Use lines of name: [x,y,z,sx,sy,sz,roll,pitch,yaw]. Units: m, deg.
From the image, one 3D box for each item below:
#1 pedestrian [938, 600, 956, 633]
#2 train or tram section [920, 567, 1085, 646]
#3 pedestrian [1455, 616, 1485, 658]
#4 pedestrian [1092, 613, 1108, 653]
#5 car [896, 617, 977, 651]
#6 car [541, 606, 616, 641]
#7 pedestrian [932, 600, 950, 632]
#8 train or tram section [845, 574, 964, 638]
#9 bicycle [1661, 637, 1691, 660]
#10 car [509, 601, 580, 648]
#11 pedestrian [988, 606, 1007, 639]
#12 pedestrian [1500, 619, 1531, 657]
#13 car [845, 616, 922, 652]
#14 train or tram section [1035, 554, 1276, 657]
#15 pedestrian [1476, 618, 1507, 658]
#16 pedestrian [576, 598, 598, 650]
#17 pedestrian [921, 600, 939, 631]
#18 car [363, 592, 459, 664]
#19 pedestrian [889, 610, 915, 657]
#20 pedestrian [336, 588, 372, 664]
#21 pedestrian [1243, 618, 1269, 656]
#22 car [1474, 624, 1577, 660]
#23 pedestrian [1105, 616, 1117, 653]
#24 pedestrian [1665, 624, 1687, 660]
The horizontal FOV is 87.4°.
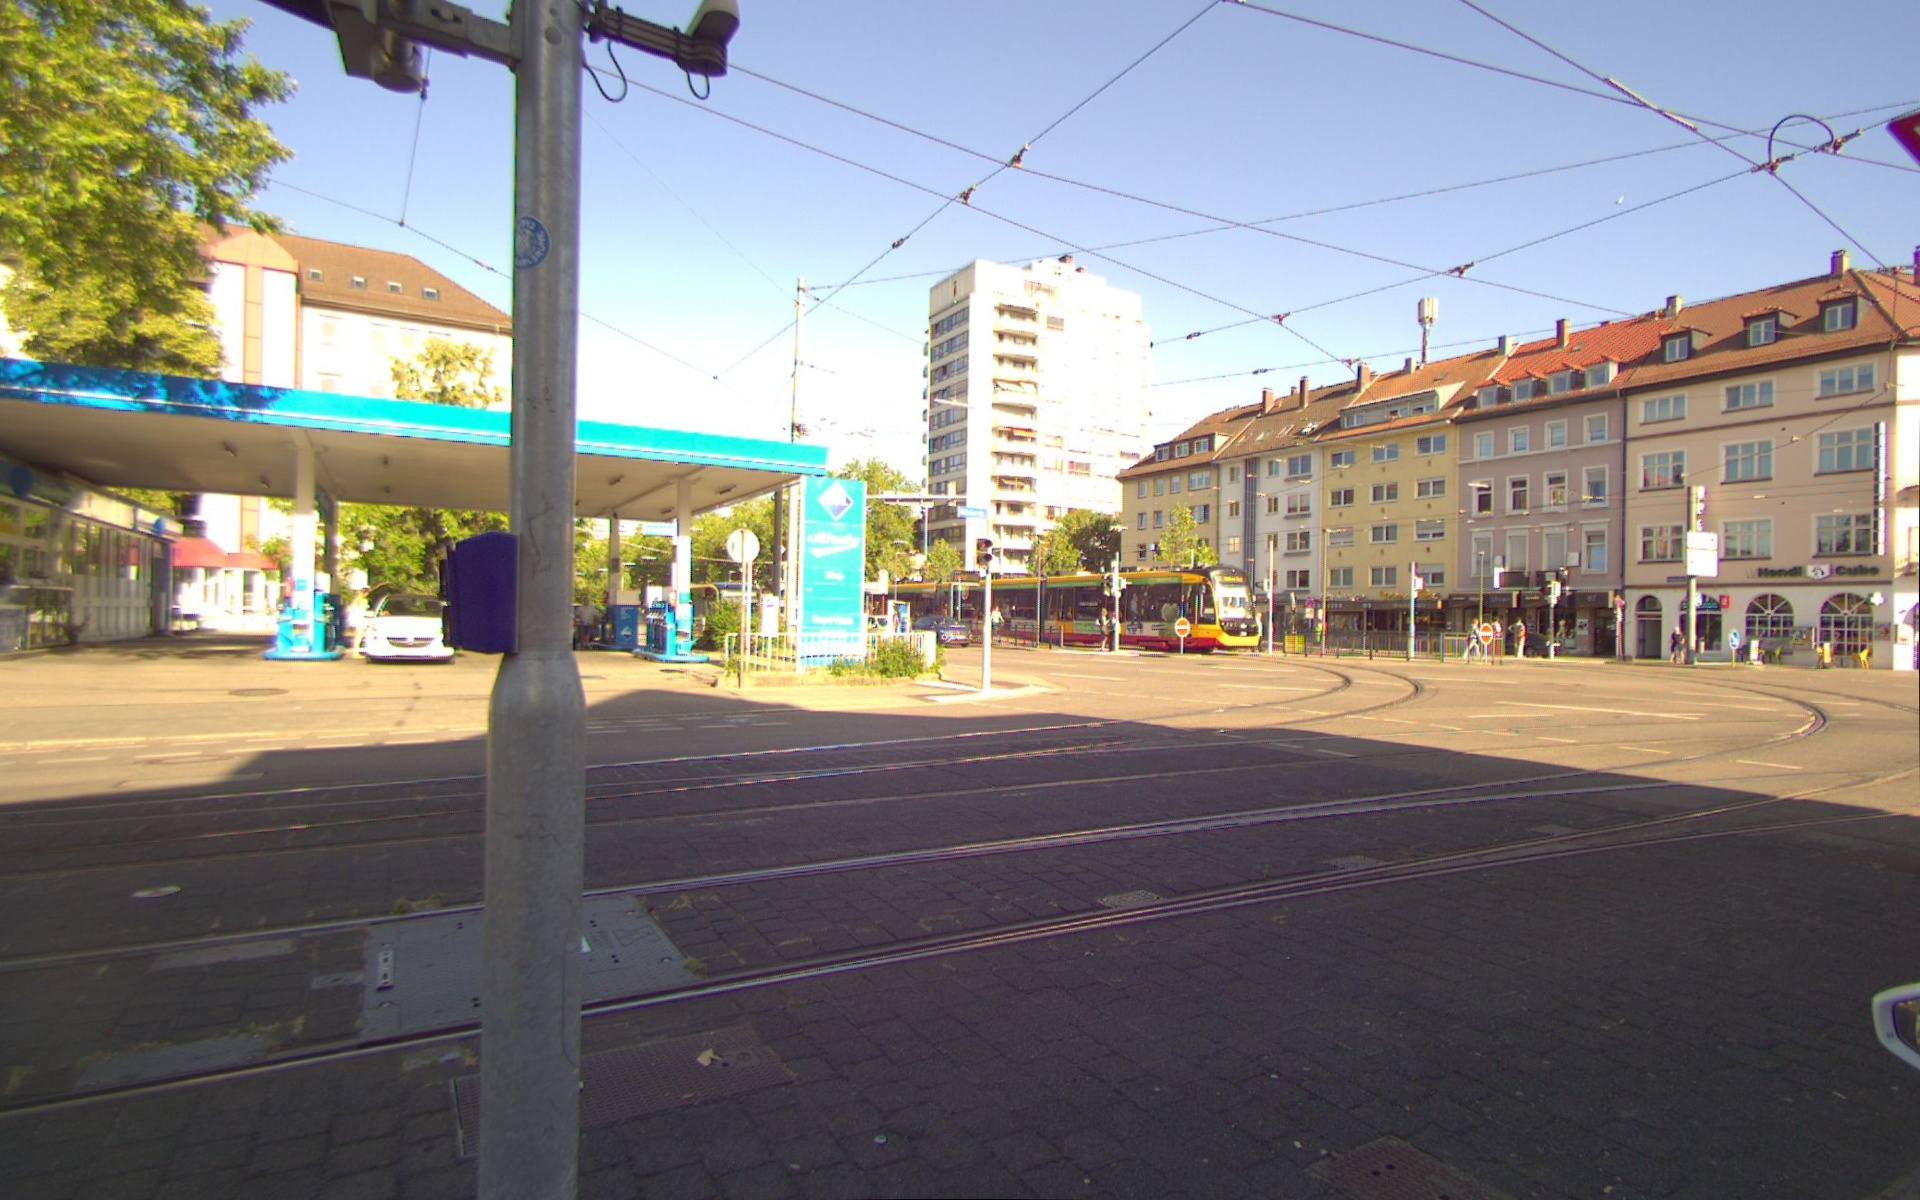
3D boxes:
pedestrian: [-0.702,0.876,53.991,0.747,1.756,0.797,0,0,-28]
train or tram section: [1.935,0.374,55.365,2.906,3.864,12.724,1,-1,-29]
pedestrian: [19.740,1.428,38.879,0.817,1.598,0.552,2,0,-2]
pedestrian: [5.854,1.391,41.966,0.626,1.666,0.462,0,0,6]
car: [-1.163,1.615,48.367,1.875,1.550,3.955,1,-2,-39]
car: [-16.863,1.040,44.600,1.722,1.461,3.572,1,-1,5]
pedestrian: [-1.047,0.875,55.939,0.747,1.756,0.797,0,0,-28]
train or tram section: [-3.952,0.439,66.181,2.906,3.864,12.029,1,-1,-29]
bicycle: [34.234,2.311,48.030,1.479,1.091,0.570,2,0,-30]
car: [-13.549,0.783,32.675,1.737,1.461,3.543,1,-1,-29]
pedestrian: [1.853,1.114,49.906,0.607,1.598,0.827,0,0,-27]
pedestrian: [24.396,1.667,44.110,0.821,1.598,0.847,2,0,-20]
car: [-3.590,1.551,46.737,1.871,1.550,3.963,1,-1,-33]
train or tram section: [7.969,0.295,44.048,2.905,3.864,12.959,1,-1,-28]
pedestrian: [21.611,1.539,40.862,0.821,1.598,0.724,2,0,-20]
pedestrian: [-12.445,0.794,33.501,0.493,1.724,0.497,0,-1,43]
pedestrian: [-1.682,0.855,55.714,0.747,1.756,0.797,0,0,-28]
car: [-12.197,0.604,22.349,1.737,1.461,3.543,1,-1,-29]
pedestrian: [-2.122,1.235,36.935,0.752,1.702,0.555,1,-1,-33]
pedestrian: [-13.967,0.590,23.153,0.640,1.724,0.497,1,-1,-26]
pedestrian: [12.648,1.583,42.951,0.867,1.598,0.665,2,0,-2]
car: [30.822,2.289,54.848,2.277,1.734,4.350,2,0,-27]
pedestrian: [6.151,1.404,40.966,0.472,1.525,0.462,0,0,6]
pedestrian: [34.247,2.015,48.033,0.743,1.692,0.579,2,0,-30]
